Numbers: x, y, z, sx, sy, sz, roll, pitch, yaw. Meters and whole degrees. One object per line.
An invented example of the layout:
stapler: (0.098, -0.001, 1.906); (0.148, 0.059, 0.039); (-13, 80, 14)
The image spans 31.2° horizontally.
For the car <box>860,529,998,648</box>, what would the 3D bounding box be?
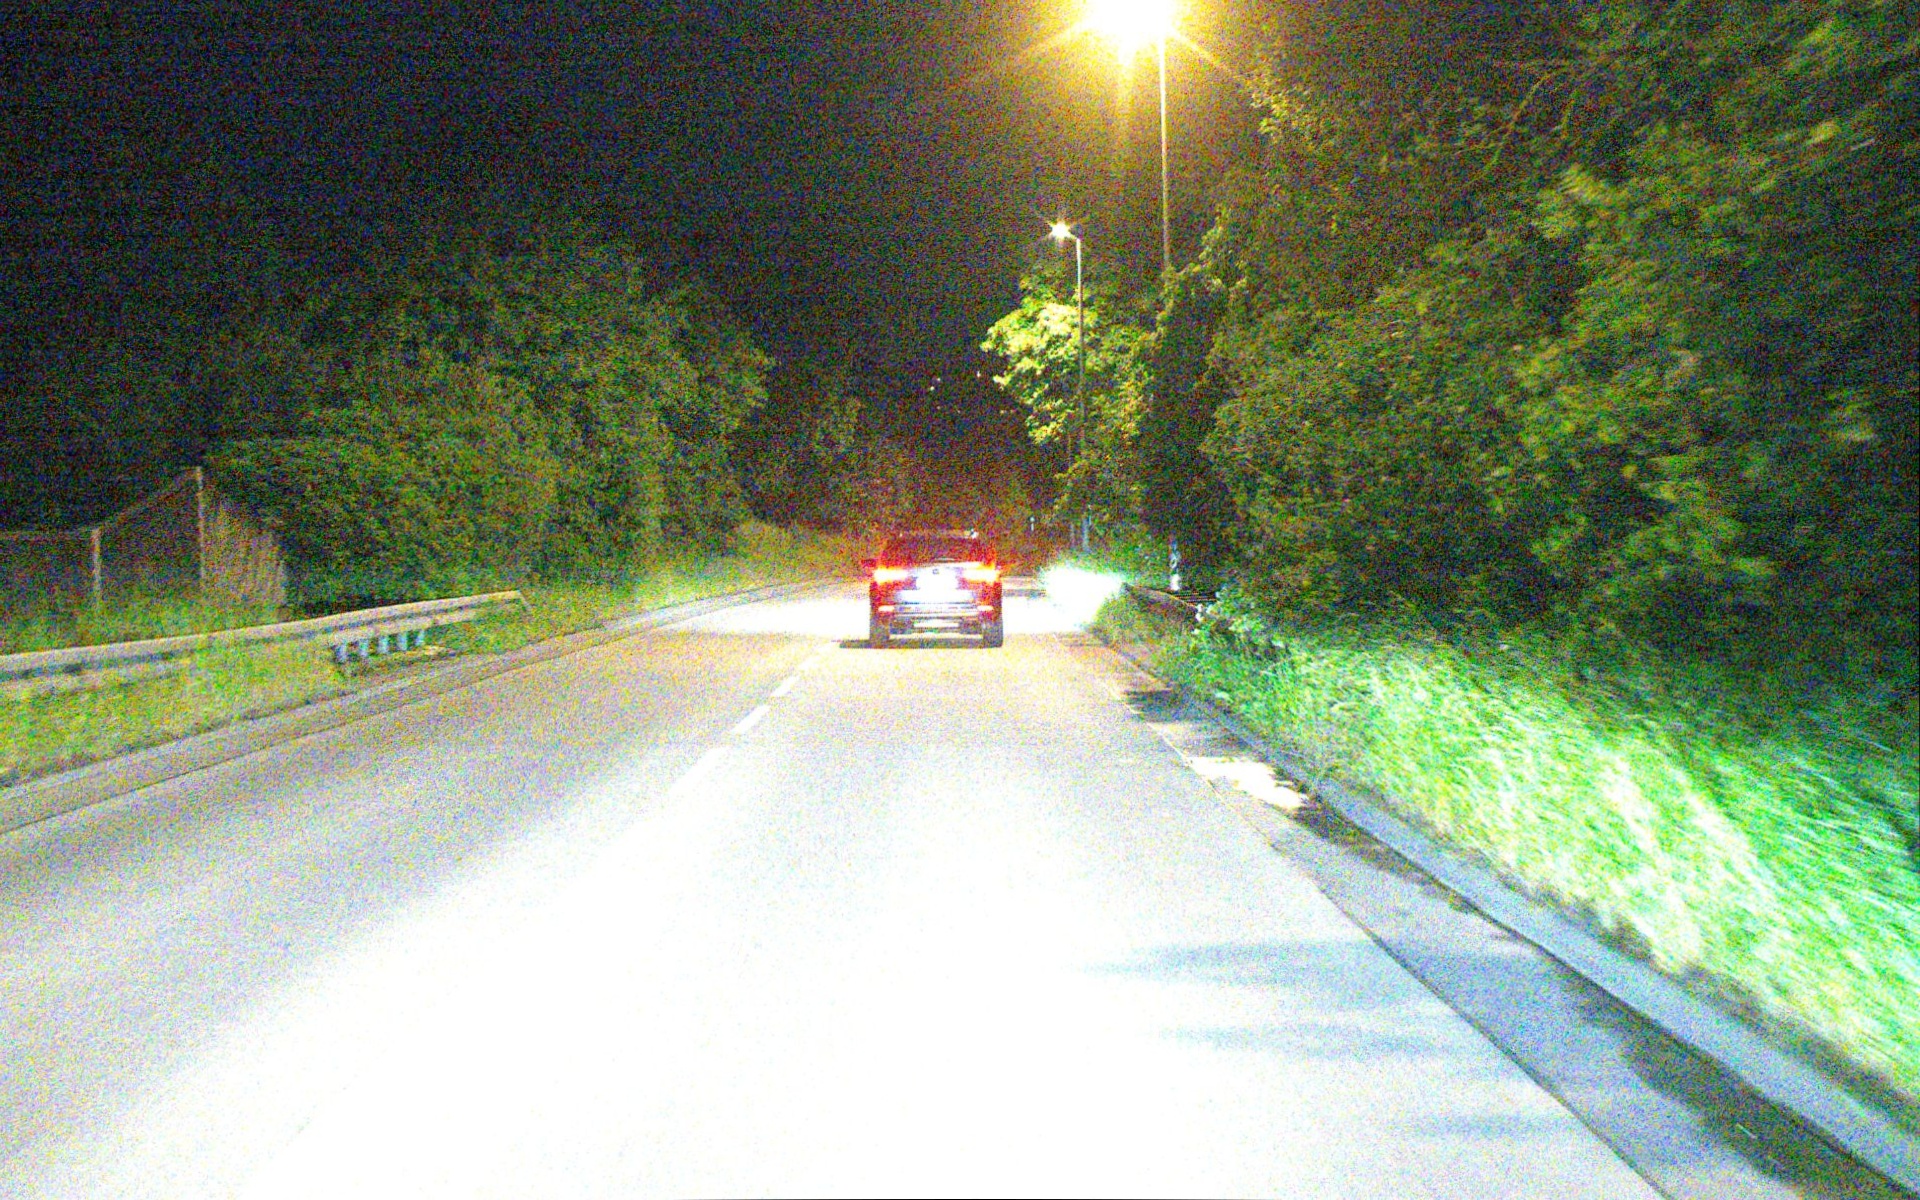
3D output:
car: (-0.424, -0.195, 47.354); (1.815, 1.568, 3.944); (0, 1, -1)
